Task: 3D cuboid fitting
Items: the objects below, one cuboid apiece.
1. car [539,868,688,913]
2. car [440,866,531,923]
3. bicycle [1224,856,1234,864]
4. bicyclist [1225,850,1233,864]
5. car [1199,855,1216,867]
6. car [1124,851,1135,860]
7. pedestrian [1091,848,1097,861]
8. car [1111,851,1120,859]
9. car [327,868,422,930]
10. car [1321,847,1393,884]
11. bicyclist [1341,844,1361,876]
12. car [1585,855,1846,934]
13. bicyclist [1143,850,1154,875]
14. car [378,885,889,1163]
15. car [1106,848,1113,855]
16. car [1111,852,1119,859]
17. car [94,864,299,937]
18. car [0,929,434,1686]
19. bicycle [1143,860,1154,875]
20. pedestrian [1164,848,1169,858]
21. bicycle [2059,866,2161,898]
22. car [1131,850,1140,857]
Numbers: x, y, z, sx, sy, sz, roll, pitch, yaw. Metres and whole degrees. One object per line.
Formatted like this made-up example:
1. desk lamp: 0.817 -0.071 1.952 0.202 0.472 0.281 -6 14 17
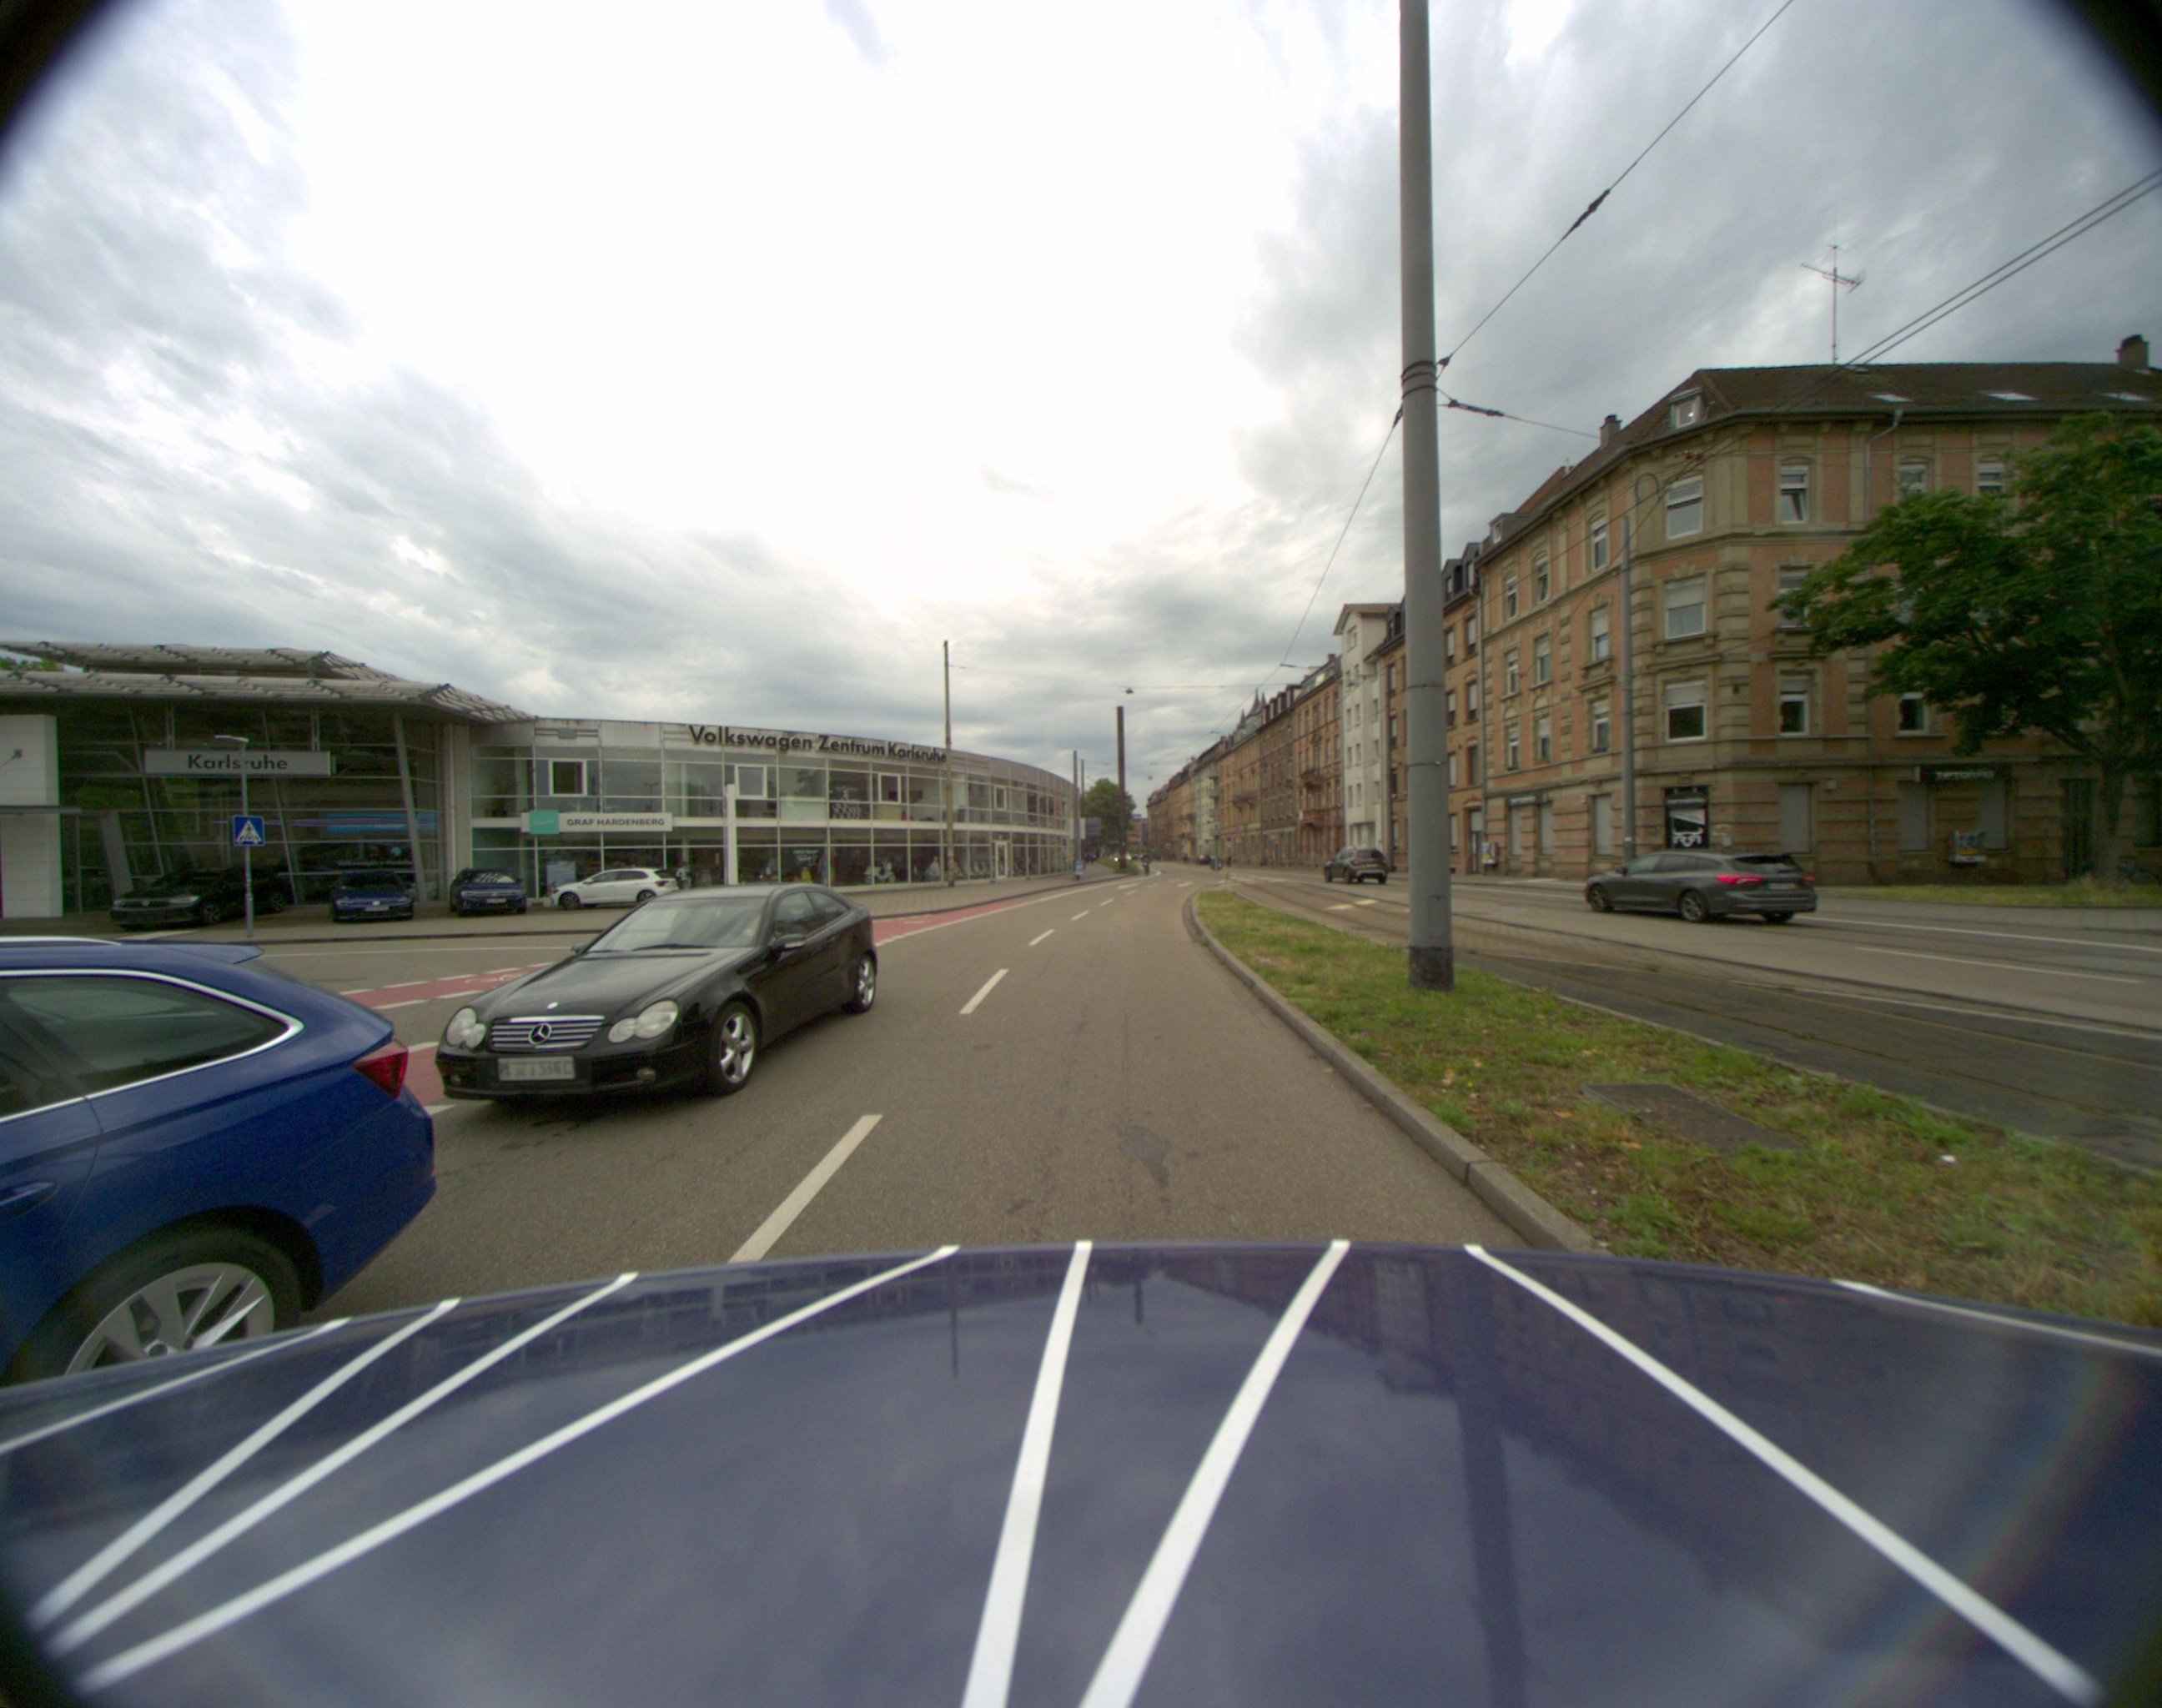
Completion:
1. car: -16.996 1.289 27.831 4.263 1.444 1.781 -1 0 -9
2. car: -20.126 1.282 25.609 1.905 1.554 4.207 -2 3 -45
3. bicycle: 16.002 0.648 81.969 0.607 0.910 1.719 -1 0 -4
4. bicyclist: 15.985 0.353 81.955 0.663 1.486 0.942 -1 1 -3
5. car: 17.127 0.915 102.904 1.852 1.471 3.828 -1 0 3
6. car: 8.848 0.274 138.257 1.802 1.630 4.230 -1 0 1
7. pedestrian: 1.800 0.089 104.808 0.871 1.843 0.706 -1 1 1
8. car: 7.409 0.192 162.157 1.802 1.630 4.230 -1 0 1
9. car: -22.200 1.315 23.836 4.325 1.496 1.862 3 3 43
10. car: 12.934 0.495 35.872 1.802 1.630 4.229 -1 0 -1
11. bicyclist: 16.152 0.337 45.470 0.831 1.881 1.049 0 0 -1
12. car: 12.867 0.728 15.858 1.698 1.387 4.391 -1 0 -2
13. bicyclist: 4.877 0.616 54.995 0.730 1.747 0.911 -1 1 7
14. car: -3.105 1.072 6.415 1.714 1.413 4.070 -1 0 3
15. car: 7.265 -0.707 192.762 1.802 1.630 4.230 -1 0 1
16. car: 7.766 0.275 174.770 1.802 1.630 4.230 -1 0 1
17. car: -26.475 1.293 23.037 1.862 1.624 4.500 -2 4 -18
18. car: -3.194 1.038 0.410 1.784 1.480 4.465 -1 1 1
19. bicycle: 4.868 0.983 54.851 0.727 1.003 2.177 -1 0 7
20. pedestrian: 16.935 -0.229 150.421 0.814 2.002 0.733 -1 1 1
21. bicycle: 30.324 0.830 22.229 0.662 0.909 1.989 0 -3 -10
22. car: 13.347 -0.203 186.636 1.802 1.630 4.230 -1 0 1
